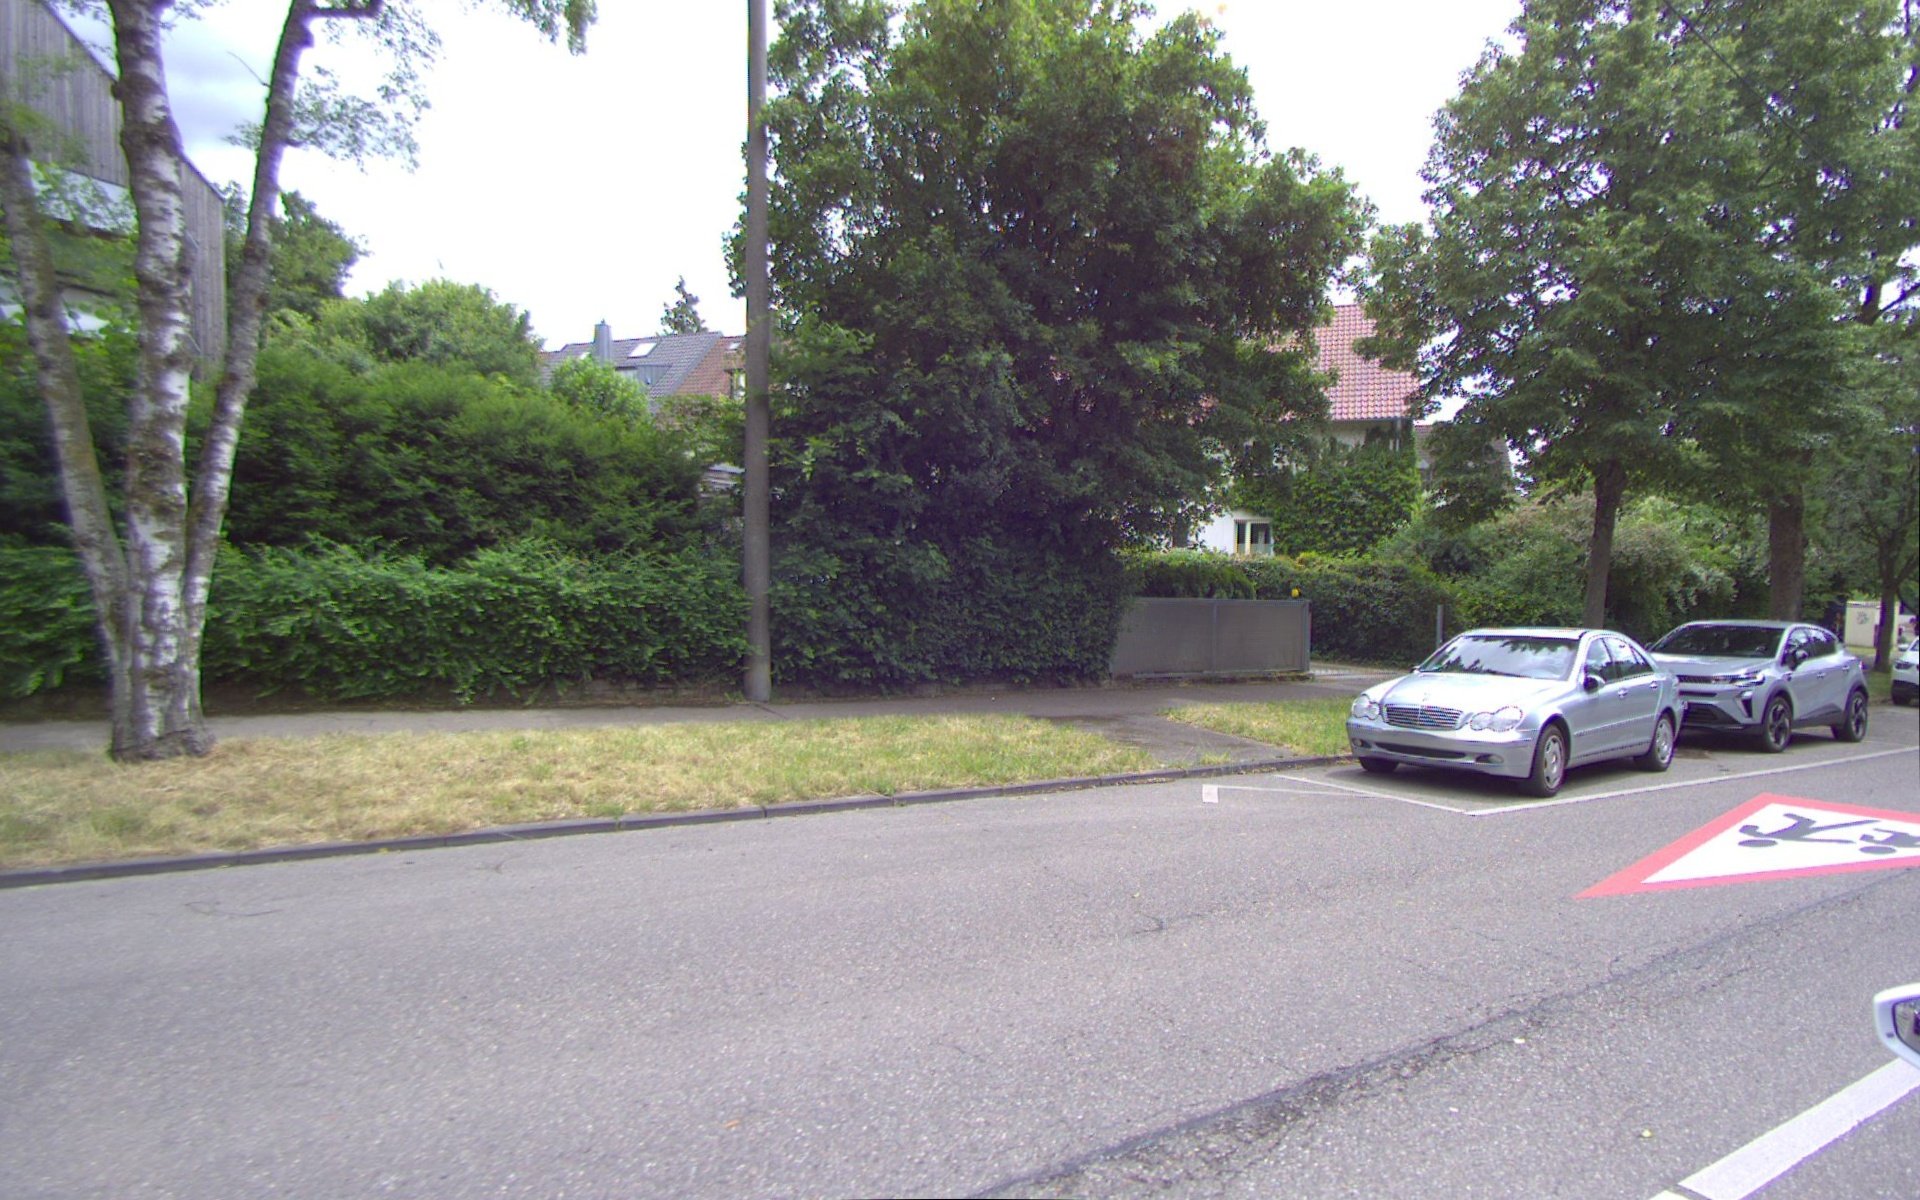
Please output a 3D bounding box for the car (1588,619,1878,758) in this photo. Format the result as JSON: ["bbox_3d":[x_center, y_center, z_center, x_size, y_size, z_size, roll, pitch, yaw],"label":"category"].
[{"bbox_3d":[10.288,1.067,13.304,4.143,1.558,1.726,1,-1,-32],"label":"car"}]

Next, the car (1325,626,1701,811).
[{"bbox_3d":[5.678,1.006,10.074,4.433,1.435,1.722,1,-1,-38],"label":"car"}]

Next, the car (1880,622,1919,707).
[{"bbox_3d":[20.013,1.273,19.971,4.100,1.600,1.724,1,-1,-35],"label":"car"}]
